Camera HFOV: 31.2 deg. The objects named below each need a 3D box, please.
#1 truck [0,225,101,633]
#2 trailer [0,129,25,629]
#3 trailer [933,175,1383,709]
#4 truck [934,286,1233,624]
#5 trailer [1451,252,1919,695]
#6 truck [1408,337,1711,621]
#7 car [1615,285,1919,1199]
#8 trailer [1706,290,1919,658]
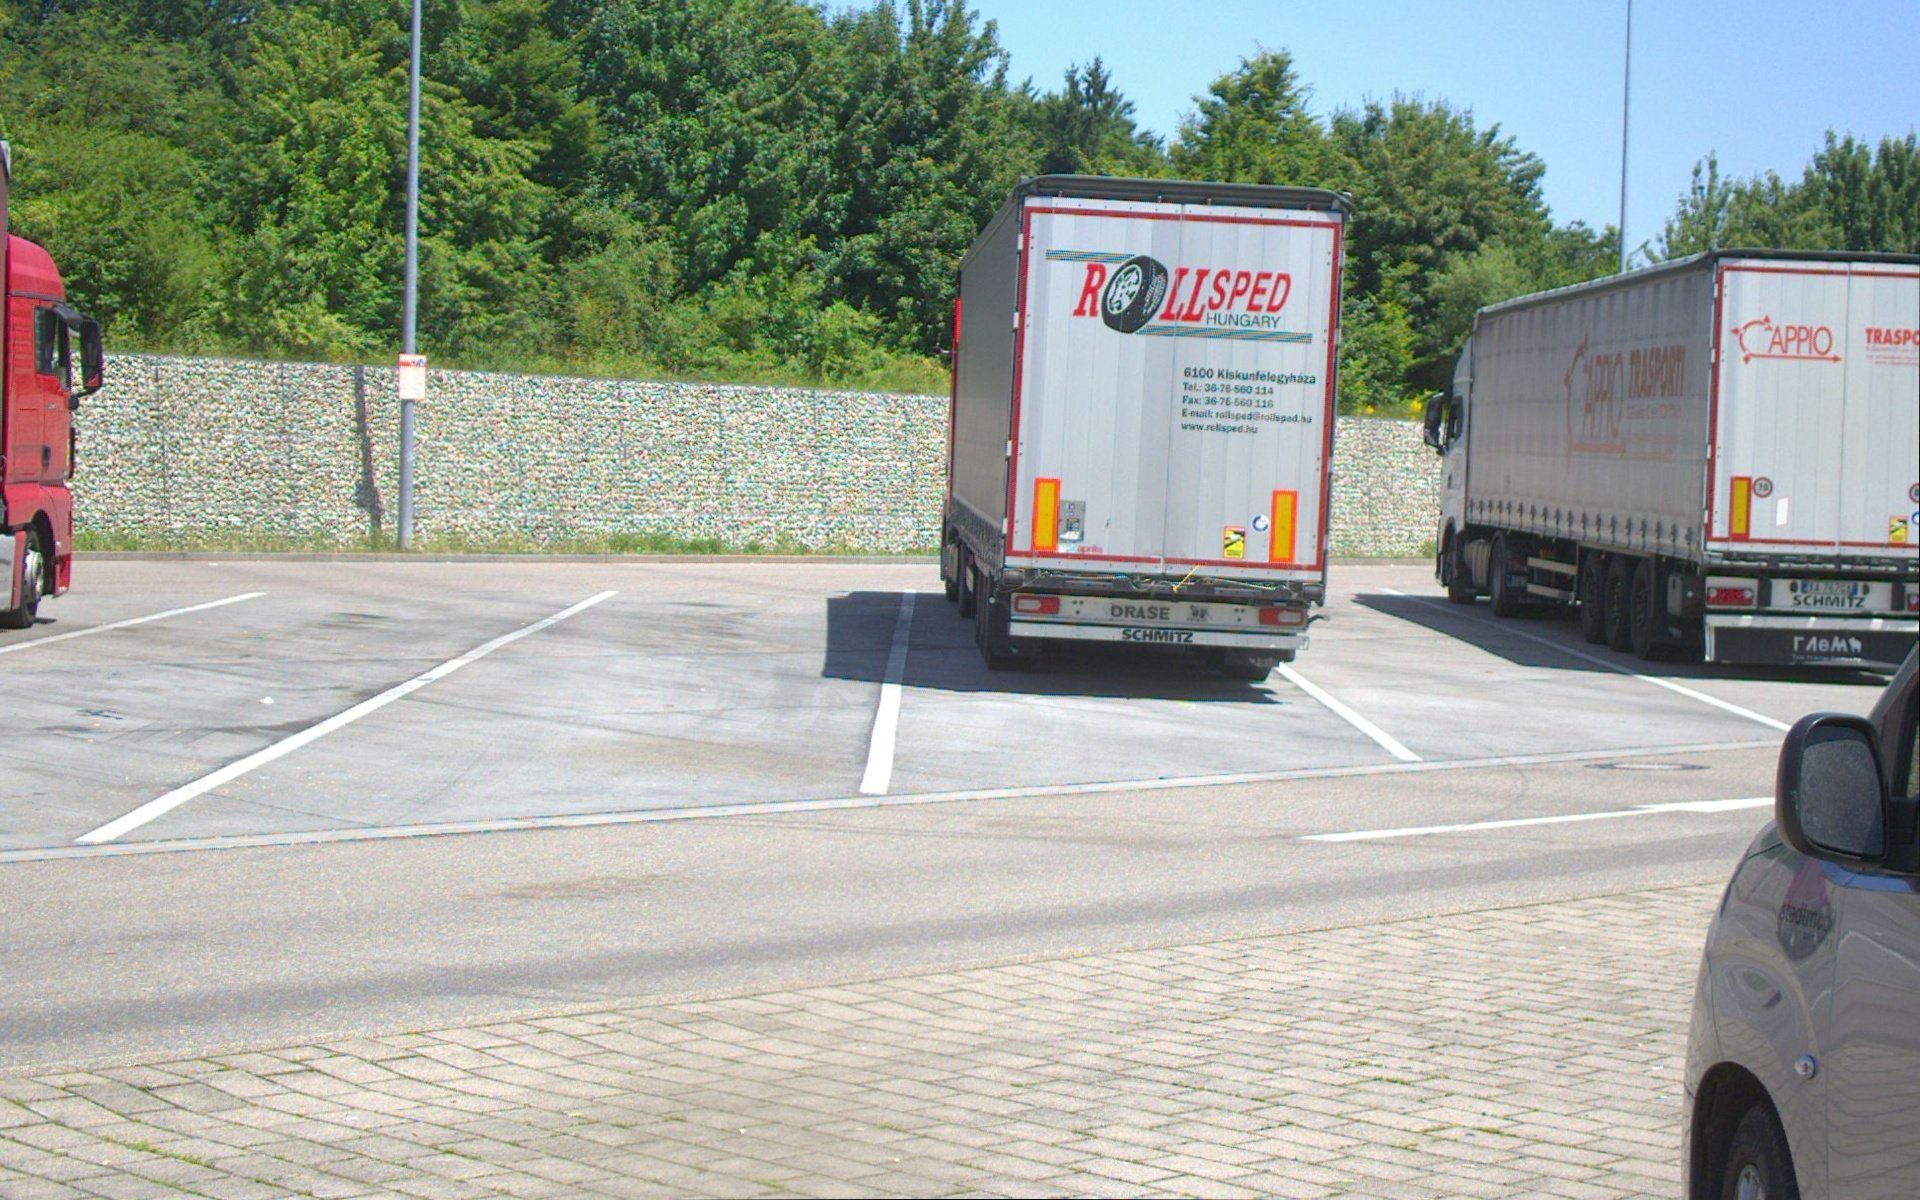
[{"bbox_3d":[-9.224,-1.447,28.148,2.851,3.316,5.900,2,3,-1],"label":"truck"},{"bbox_3d":[-9.180,-1.491,21.574,2.791,4.071,14.133,2,3,-1],"label":"trailer"},{"bbox_3d":[1.462,-1.596,33.624,3.133,3.976,14.397,2,3,-1],"label":"trailer"},{"bbox_3d":[1.325,-1.738,40.516,3.103,3.554,5.900,2,3,-1],"label":"truck"},{"bbox_3d":[8.128,-1.526,38.736,2.811,3.976,14.396,2,3,-1],"label":"trailer"},{"bbox_3d":[8.035,-1.702,46.836,2.862,3.509,5.900,2,3,-1],"label":"truck"},{"bbox_3d":[2.164,0.585,3.855,1.869,1.857,4.177,2,2,-2],"label":"car"},{"bbox_3d":[11.769,-1.458,39.788,2.811,3.976,14.396,2,3,-1],"label":"trailer"}]
